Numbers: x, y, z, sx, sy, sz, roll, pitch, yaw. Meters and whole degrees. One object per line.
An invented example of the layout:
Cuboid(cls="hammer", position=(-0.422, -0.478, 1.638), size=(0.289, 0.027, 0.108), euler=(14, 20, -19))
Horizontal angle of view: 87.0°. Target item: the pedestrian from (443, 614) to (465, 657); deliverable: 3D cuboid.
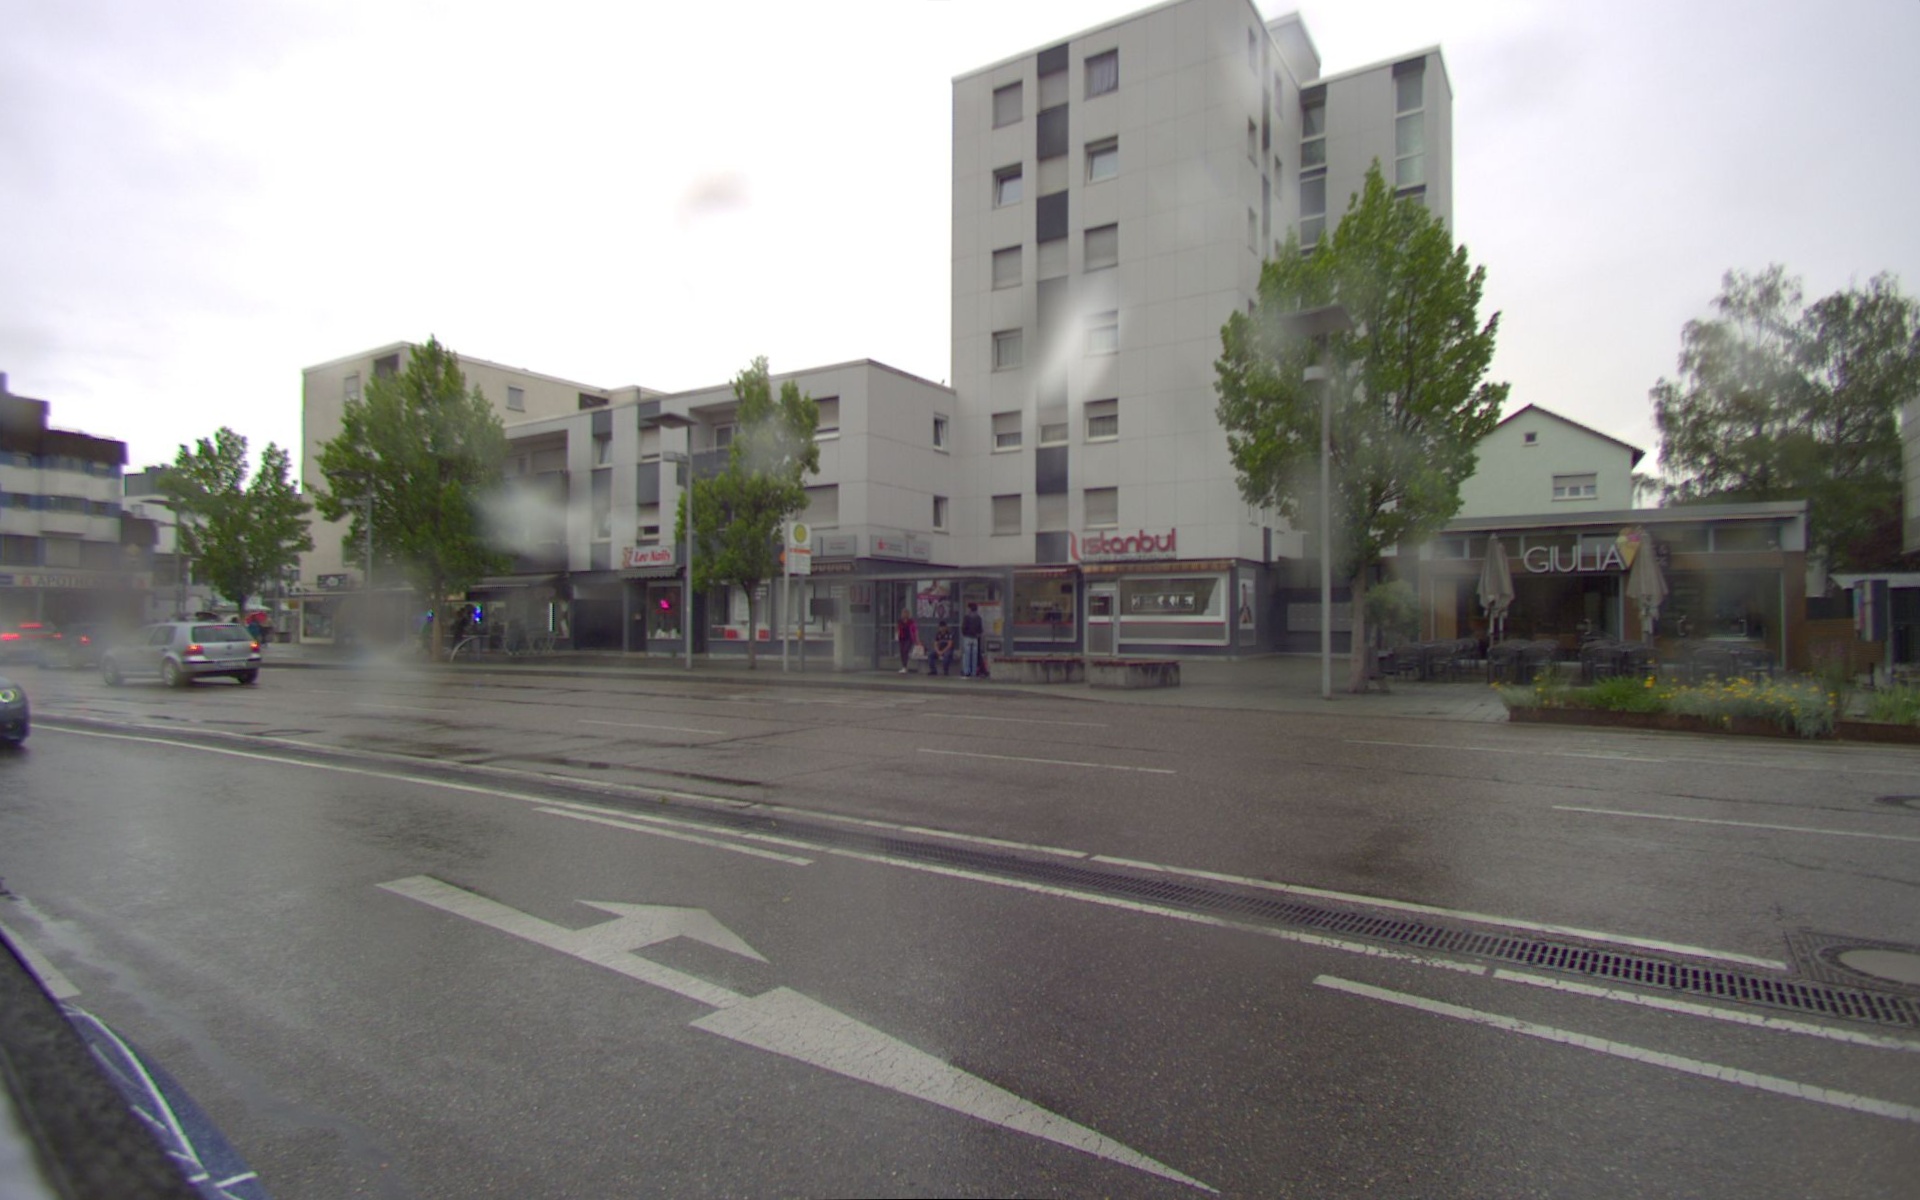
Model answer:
Cuboid(cls="pedestrian", position=(-20.996, 1.473, 41.975), size=(0.679, 1.763, 0.543), euler=(-2, -2, 34))

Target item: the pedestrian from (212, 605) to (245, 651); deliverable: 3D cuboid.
Cuboid(cls="pedestrian", position=(-32.770, 1.241, 45.315), size=(0.974, 2.029, 0.896), euler=(-2, -2, 32))

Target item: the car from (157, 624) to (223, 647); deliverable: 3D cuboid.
Cuboid(cls="car", position=(-60.012, 2.764, 78.911), size=(1.730, 1.733, 3.878), euler=(-1, -1, 14))

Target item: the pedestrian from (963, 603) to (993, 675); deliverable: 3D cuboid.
Cuboid(cls="pedestrian", position=(0.433, 0.913, 23.850), size=(0.479, 1.672, 0.530), euler=(-1, -2, 38))

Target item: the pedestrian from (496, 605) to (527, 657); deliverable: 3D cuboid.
Cuboid(cls="pedestrian", position=(-17.478, 1.209, 39.455), size=(0.862, 2.029, 0.752), euler=(-2, -2, 34))

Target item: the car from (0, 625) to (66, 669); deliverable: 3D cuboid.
Cuboid(cls="car", position=(-33.010, 1.606, 35.384), size=(4.880, 1.438, 1.741), euler=(-1, -1, 38))

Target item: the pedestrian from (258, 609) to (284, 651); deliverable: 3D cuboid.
Cuboid(cls="pedestrian", position=(-33.746, 1.461, 49.545), size=(0.861, 2.029, 0.753), euler=(-2, -2, 31))

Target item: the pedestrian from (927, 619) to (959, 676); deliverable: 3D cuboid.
Cuboid(cls="pedestrian", position=(-0.418, 1.141, 24.533), size=(0.578, 1.363, 0.530), euler=(-1, -2, 38))

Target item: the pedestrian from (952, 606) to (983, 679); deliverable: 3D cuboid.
Cuboid(cls="pedestrian", position=(0.166, 0.972, 23.342), size=(0.535, 1.672, 0.474), euler=(-1, -2, 34))

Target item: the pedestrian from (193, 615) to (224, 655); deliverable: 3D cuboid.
Cuboid(cls="pedestrian", position=(-36.632, 1.697, 49.339), size=(0.974, 1.929, 0.896), euler=(-2, -2, 32))

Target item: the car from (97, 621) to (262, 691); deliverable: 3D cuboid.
Cuboid(cls="car", position=(-18.017, 1.247, 23.330), size=(4.090, 1.477, 1.687), euler=(-1, -3, 32))

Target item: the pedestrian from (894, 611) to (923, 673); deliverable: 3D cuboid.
Cuboid(cls="pedestrian", position=(-1.270, 1.034, 25.157), size=(0.608, 1.516, 0.535), euler=(-1, -1, 9))

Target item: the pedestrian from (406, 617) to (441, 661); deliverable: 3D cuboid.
Cuboid(cls="pedestrian", position=(-20.780, 1.489, 39.214), size=(0.724, 1.658, 0.999), euler=(-1, -1, 32))

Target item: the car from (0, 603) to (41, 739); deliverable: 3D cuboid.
Cuboid(cls="car", position=(-12.899, 0.860, 11.919), size=(3.889, 1.555, 1.663), euler=(-2, -2, 24))

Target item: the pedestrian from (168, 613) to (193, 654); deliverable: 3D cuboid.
Cuboid(cls="pedestrian", position=(-37.407, 1.607, 48.558), size=(0.892, 1.929, 0.979), euler=(1, -2, -43))

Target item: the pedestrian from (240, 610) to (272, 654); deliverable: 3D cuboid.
Cuboid(cls="pedestrian", position=(-32.428, 1.476, 46.611), size=(0.974, 2.029, 0.896), euler=(-2, -2, 32))

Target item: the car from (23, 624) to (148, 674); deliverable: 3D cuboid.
Cuboid(cls="car", position=(-27.120, 1.517, 31.359), size=(3.984, 1.438, 1.745), euler=(-2, -2, 30))
